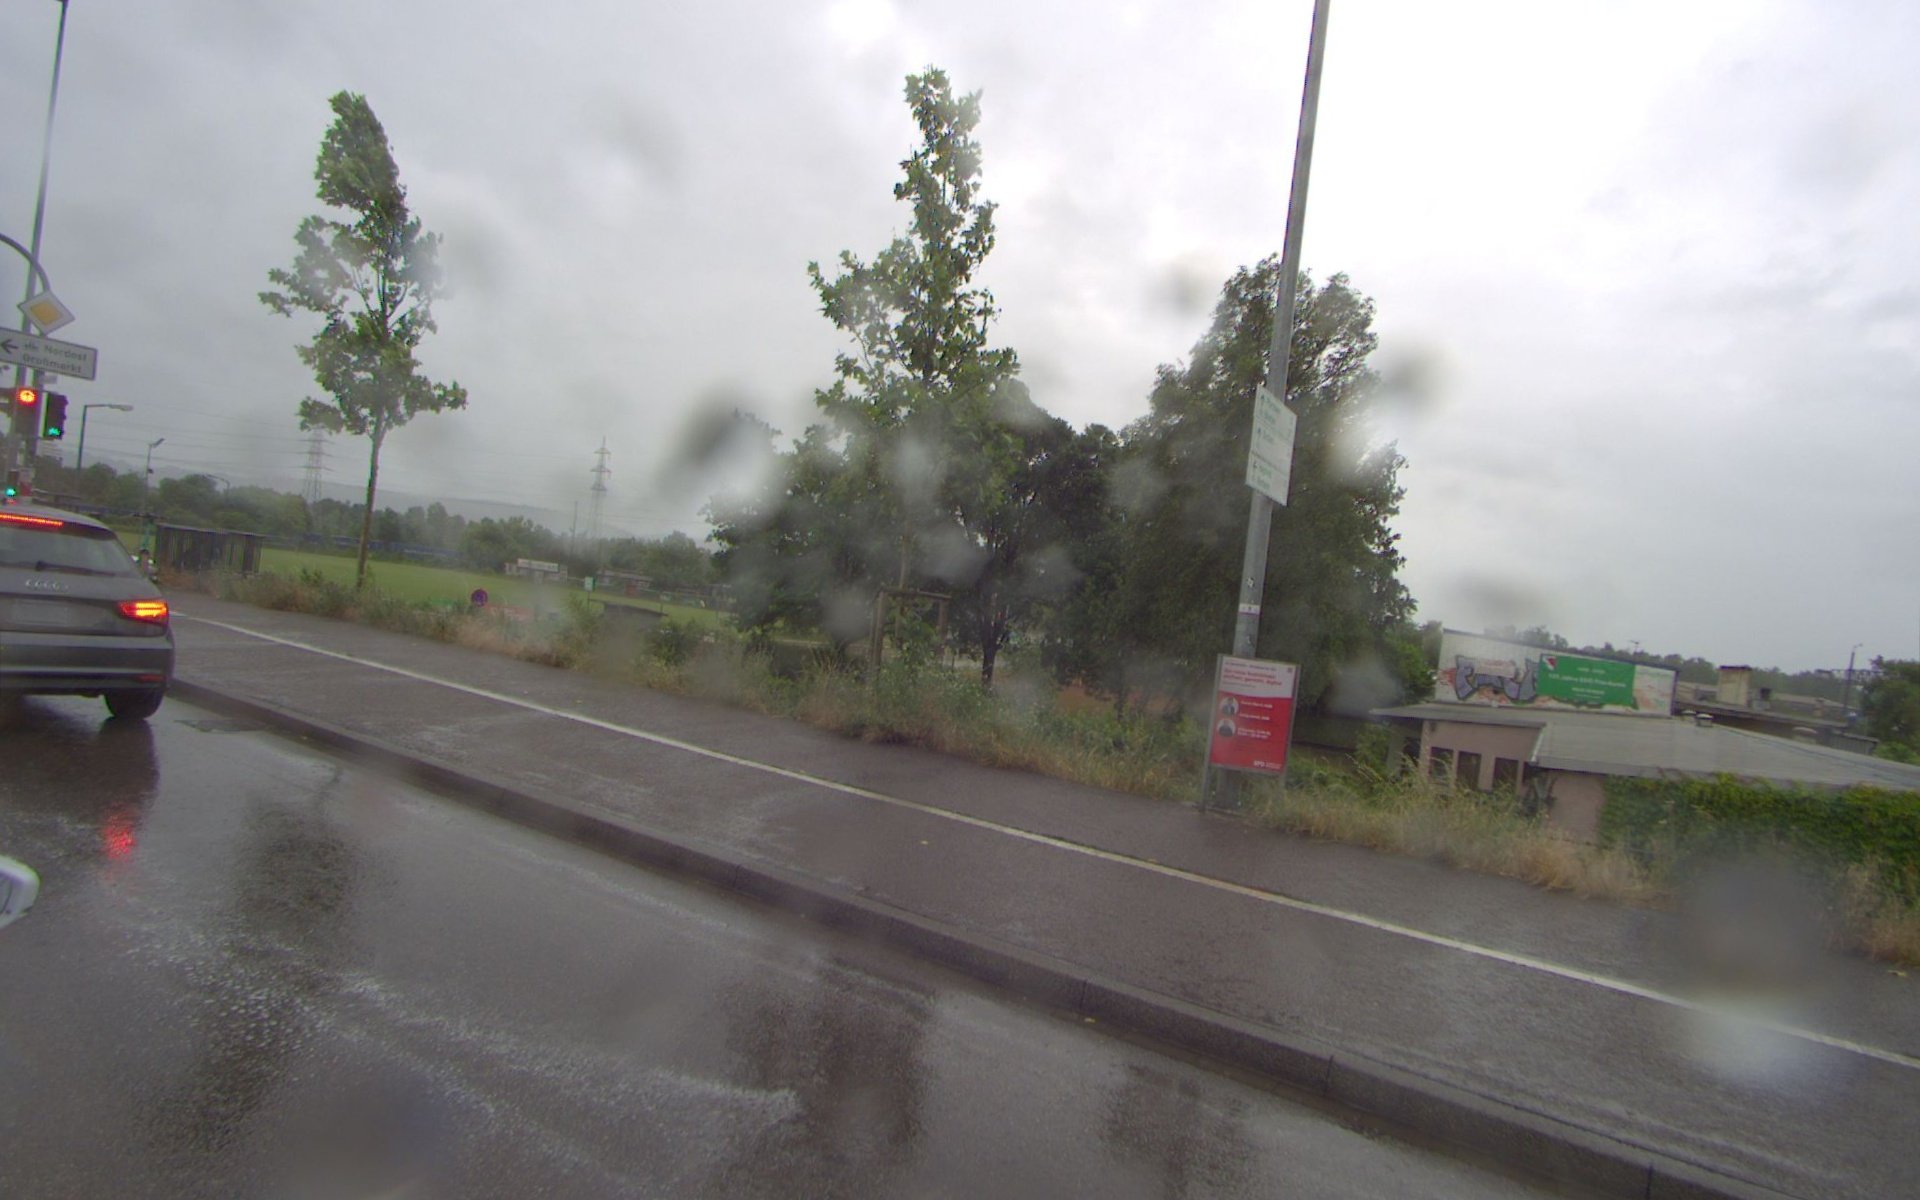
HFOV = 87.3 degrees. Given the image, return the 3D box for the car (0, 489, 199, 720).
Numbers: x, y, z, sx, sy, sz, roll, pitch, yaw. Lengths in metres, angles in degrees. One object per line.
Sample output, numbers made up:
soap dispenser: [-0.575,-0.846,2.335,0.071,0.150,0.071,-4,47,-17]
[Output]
car: [-7.214,-0.099,7.094,3.569,1.383,1.600,5,-1,30]

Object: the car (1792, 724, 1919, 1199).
car: [3.303,1.192,0.764,3.815,1.526,1.706,7,-1,31]

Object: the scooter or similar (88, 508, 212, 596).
scooter or similar: [-13.967,-0.845,17.304,2.971,1.226,0.691,7,0,33]
